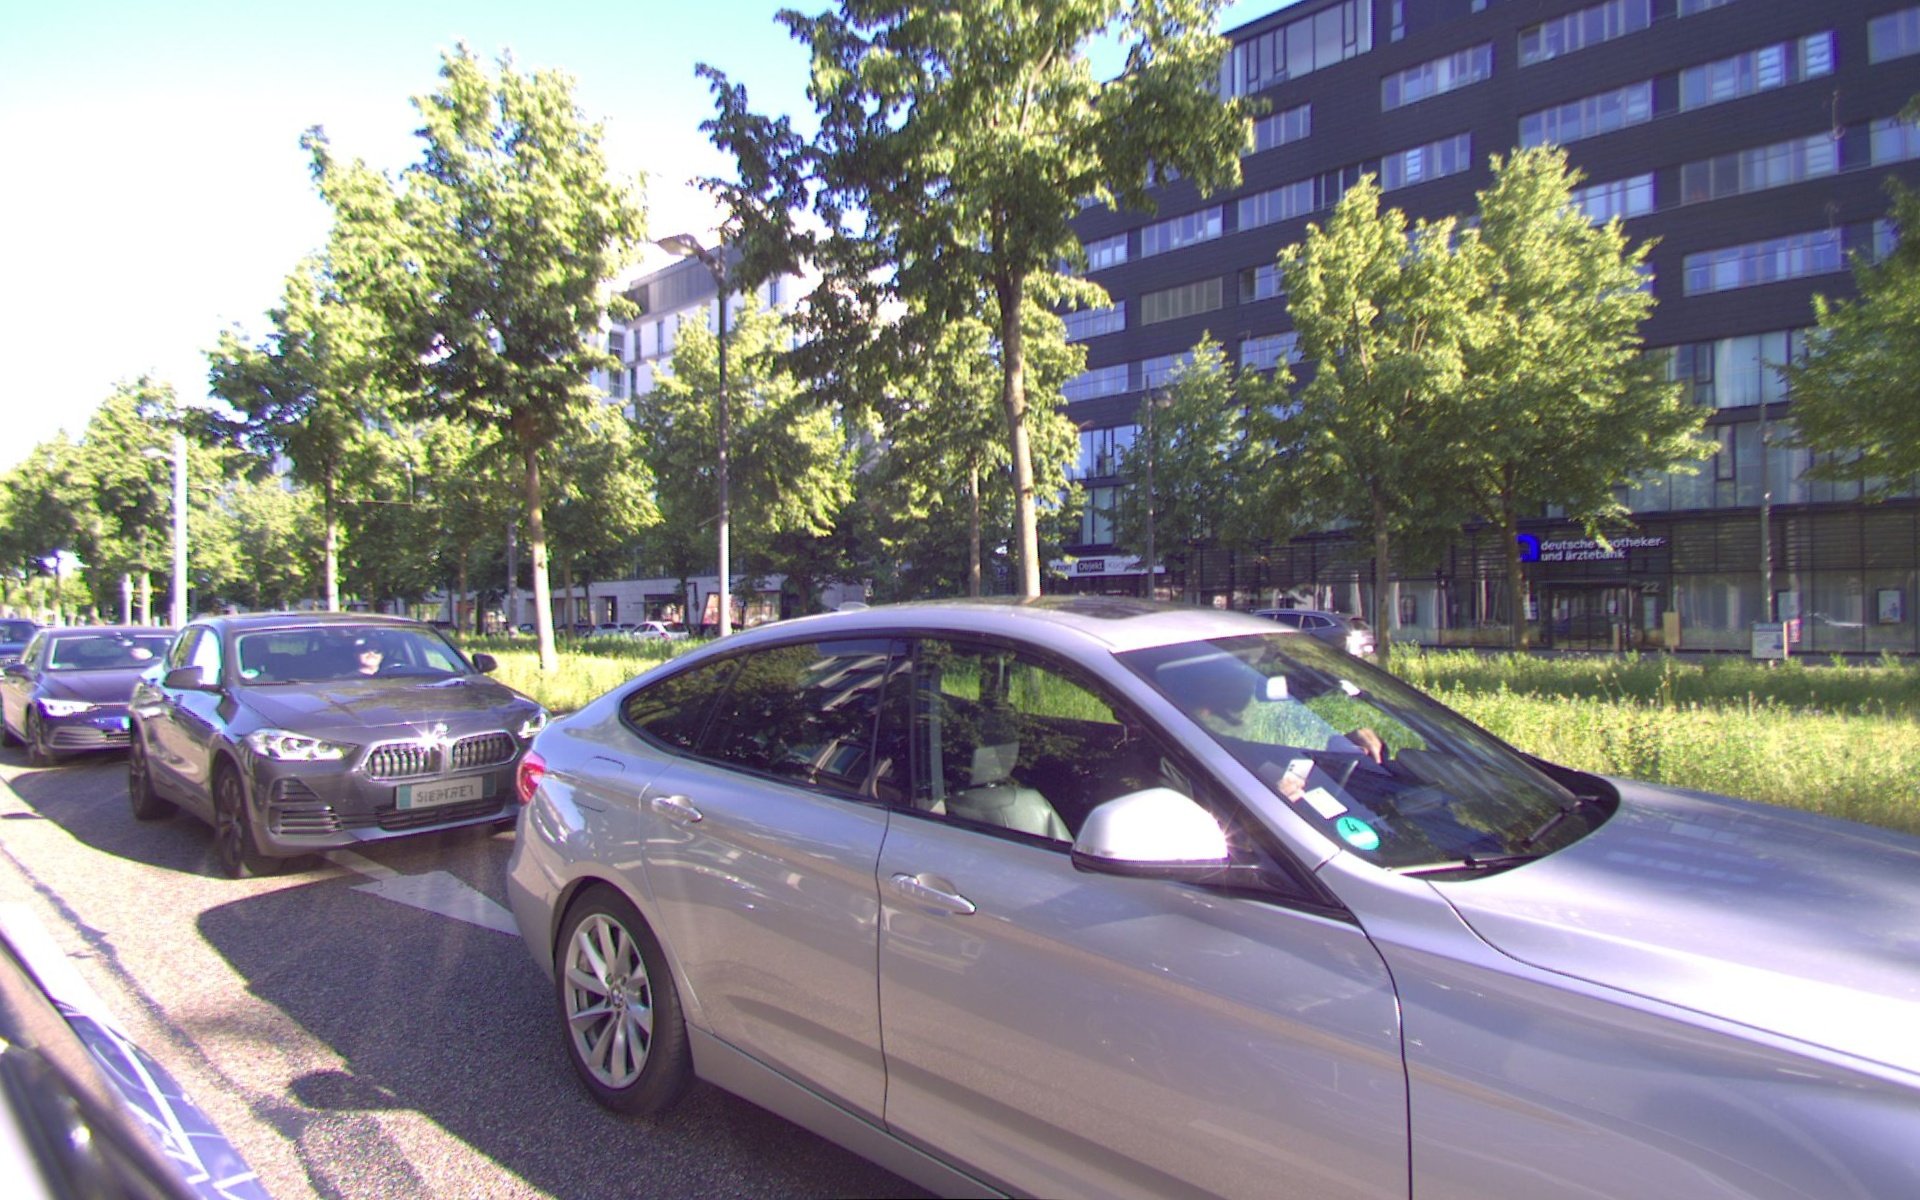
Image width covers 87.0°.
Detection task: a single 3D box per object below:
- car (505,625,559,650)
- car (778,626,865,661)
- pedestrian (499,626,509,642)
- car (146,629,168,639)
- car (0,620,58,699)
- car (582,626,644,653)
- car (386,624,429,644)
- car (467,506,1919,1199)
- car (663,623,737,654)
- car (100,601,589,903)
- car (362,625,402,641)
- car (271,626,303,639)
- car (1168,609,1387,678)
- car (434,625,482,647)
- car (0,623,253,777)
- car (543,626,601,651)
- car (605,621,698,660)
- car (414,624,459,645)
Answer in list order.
[{"bbox_3d":[-29.780,2.593,70.420,4.182,1.609,1.859,-2,-1,41],"label":"car"},{"bbox_3d":[-6.778,2.077,49.389,4.182,1.609,1.926,-2,-1,41],"label":"car"},{"bbox_3d":[-40.091,2.989,89.016,0.660,1.349,0.597,-2,-1,41],"label":"pedestrian"},{"bbox_3d":[-114.636,4.823,144.497,4.001,1.406,1.971,-2,-2,44],"label":"car"},{"bbox_3d":[-21.007,1.246,21.855,4.344,1.598,1.854,-1,-1,43],"label":"car"},{"bbox_3d":[-21.703,2.470,63.247,4.182,1.609,1.859,-2,-1,41],"label":"car"},{"bbox_3d":[-46.597,2.856,85.378,4.182,1.609,1.859,-2,-1,41],"label":"car"},{"bbox_3d":[0.663,0.675,2.582,4.558,1.495,1.800,-1,-1,40],"label":"car"},{"bbox_3d":[-14.321,2.101,55.596,4.182,1.609,1.926,-2,-1,41],"label":"car"},{"bbox_3d":[-4.454,0.800,7.075,3.998,1.502,1.837,-1,-1,42],"label":"car"},{"bbox_3d":[-50.713,2.875,88.748,4.001,1.406,1.971,-2,-2,44],"label":"car"},{"bbox_3d":[-72.542,3.505,109.064,3.998,1.406,1.972,-2,-2,41],"label":"car"},{"bbox_3d":[7.371,0.976,23.708,4.559,1.458,1.783,-1,-1,36],"label":"car"},{"bbox_3d":[-38.680,2.740,77.975,4.182,1.609,1.859,-2,-1,41],"label":"car"},{"bbox_3d":[-9.848,0.995,11.707,4.344,1.434,1.854,-1,-1,43],"label":"car"},{"bbox_3d":[-25.710,2.528,67.056,4.182,1.609,1.859,-2,-1,41],"label":"car"},{"bbox_3d":[-13.624,1.757,44.571,4.567,1.494,1.780,-1,2,42],"label":"car"},{"bbox_3d":[-42.142,2.786,81.482,4.182,1.609,1.859,-2,-1,41],"label":"car"}]
